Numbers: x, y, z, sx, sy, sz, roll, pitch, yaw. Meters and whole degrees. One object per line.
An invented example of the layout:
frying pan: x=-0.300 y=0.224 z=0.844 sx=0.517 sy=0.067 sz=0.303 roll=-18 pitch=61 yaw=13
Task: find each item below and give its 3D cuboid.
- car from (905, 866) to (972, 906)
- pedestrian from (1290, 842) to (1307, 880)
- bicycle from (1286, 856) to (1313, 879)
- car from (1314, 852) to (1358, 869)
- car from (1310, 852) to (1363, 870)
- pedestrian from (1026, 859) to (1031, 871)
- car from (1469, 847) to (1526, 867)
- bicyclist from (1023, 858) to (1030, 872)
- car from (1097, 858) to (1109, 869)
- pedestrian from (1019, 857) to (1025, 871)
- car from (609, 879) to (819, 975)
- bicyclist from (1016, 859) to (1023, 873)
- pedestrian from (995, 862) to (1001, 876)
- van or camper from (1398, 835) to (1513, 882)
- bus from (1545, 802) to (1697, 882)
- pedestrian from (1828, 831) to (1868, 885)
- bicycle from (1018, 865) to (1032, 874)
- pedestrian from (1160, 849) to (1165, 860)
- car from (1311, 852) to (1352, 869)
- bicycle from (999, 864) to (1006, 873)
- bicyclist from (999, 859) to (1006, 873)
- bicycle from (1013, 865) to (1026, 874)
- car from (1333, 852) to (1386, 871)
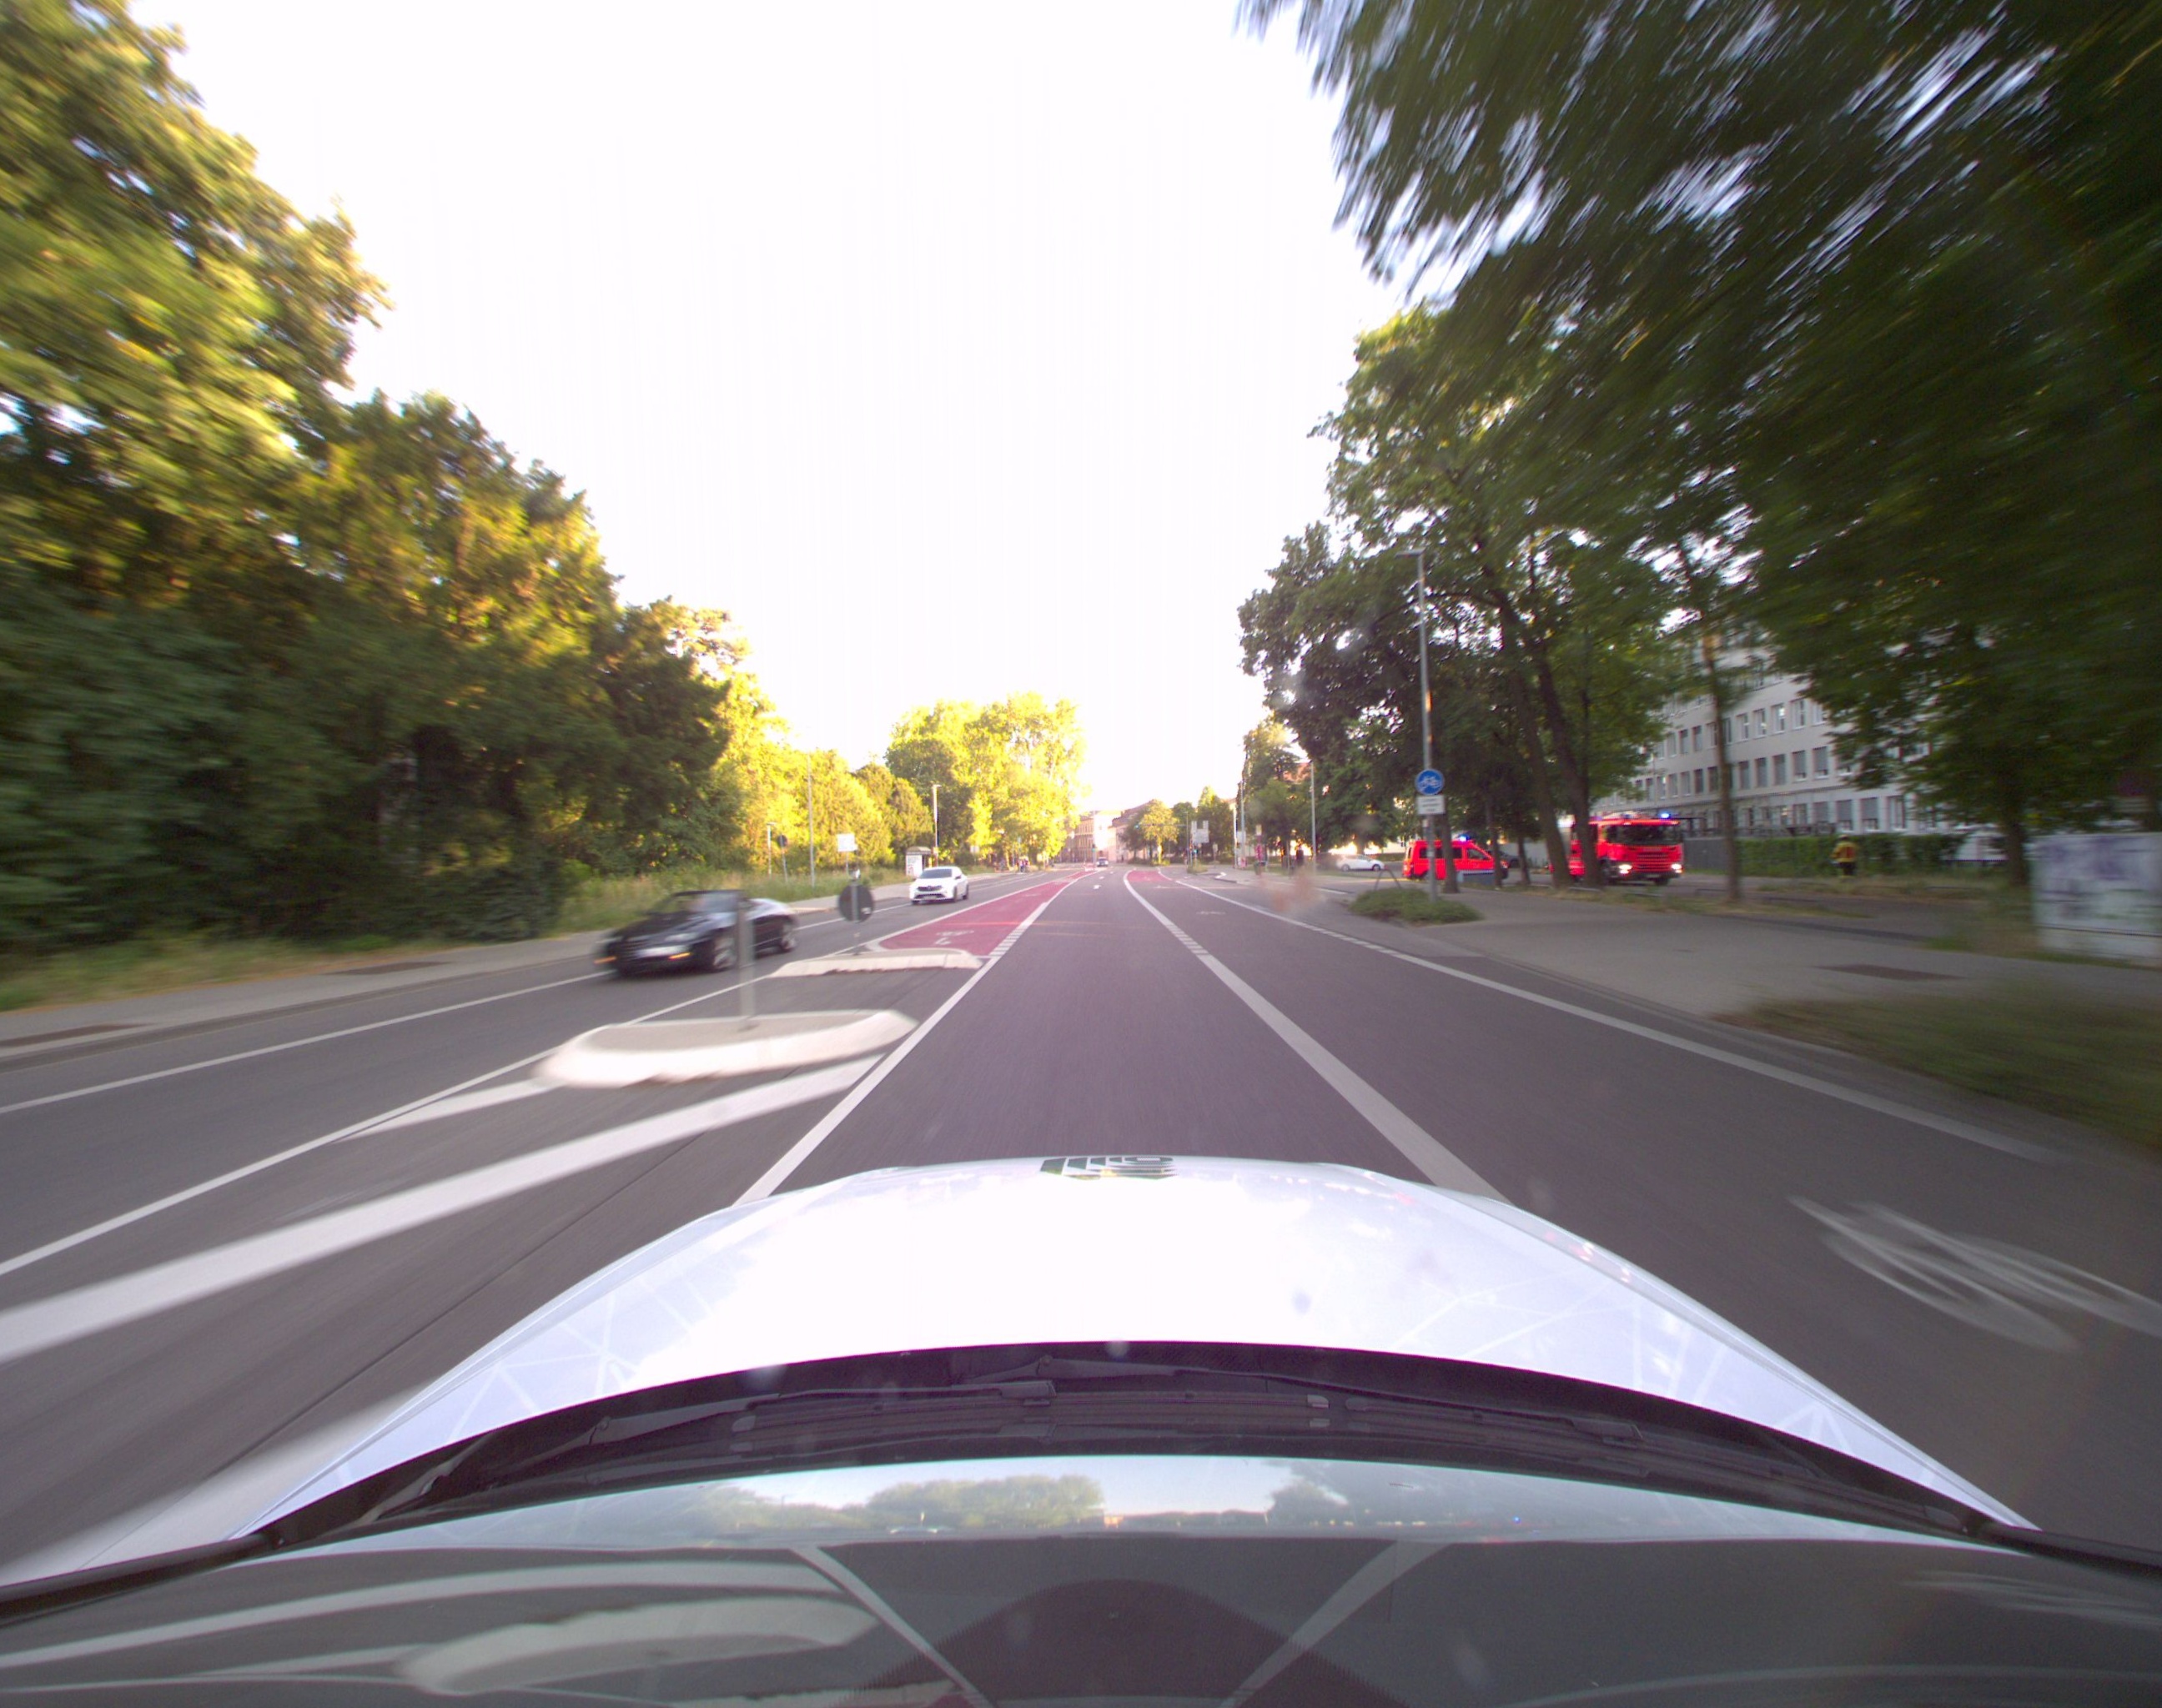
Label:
car: x=-5.687 y=1.231 z=32.991 sx=1.840 sy=1.414 sz=4.180 roll=-2 pitch=-1 yaw=1
pedestrian: x=11.496 y=0.365 z=43.129 sx=0.720 sy=2.014 sz=0.695 roll=0 pitch=-1 yaw=1
bicycle: x=11.628 y=0.694 z=43.369 sx=0.827 sy=1.097 sz=1.969 roll=-7 pitch=-1 yaw=2
car: x=25.398 y=0.624 z=81.325 sx=3.961 sy=1.561 sz=1.791 roll=-2 pitch=-1 yaw=11
car: x=24.480 y=0.677 z=78.155 sx=4.545 sy=1.449 sz=1.904 roll=-3 pitch=-3 yaw=6
pedestrian: x=-8.571 y=1.794 z=131.950 sx=0.636 sy=2.014 sz=0.702 roll=-2 pitch=-1 yaw=6
car: x=35.103 y=0.260 z=68.723 sx=3.959 sy=1.617 sz=1.920 roll=0 pitch=-1 yaw=13
bicyclist: x=-6.878 y=1.400 z=103.201 sx=0.631 sy=1.780 sz=0.580 roll=-2 pitch=-1 yaw=35
car: x=3.789 y=1.668 z=140.786 sx=1.842 sy=1.720 sz=4.297 roll=-3 pitch=-1 yaw=2
pedestrian: x=-7.220 y=1.261 z=99.487 sx=0.604 sy=1.695 sz=0.499 roll=-2 pitch=-1 yaw=6
car: x=-6.231 y=1.174 z=14.394 sx=1.743 sy=1.306 sz=4.002 roll=-2 pitch=-1 yaw=2
bicyclist: x=-7.673 y=1.509 z=101.935 sx=0.631 sy=1.649 sz=0.634 roll=-2 pitch=-1 yaw=35
pedestrian: x=-12.092 y=2.175 z=118.543 sx=0.653 sy=2.014 sz=0.600 roll=0 pitch=-1 yaw=-34
van or camper: x=18.332 y=0.243 z=40.106 sx=4.780 sy=2.245 sz=2.303 roll=-1 pitch=-1 yaw=12
bus: x=23.995 y=-0.428 z=36.782 sx=2.968 sy=3.196 sz=7.990 roll=-1 pitch=-1 yaw=12
pedestrian: x=29.055 y=0.136 z=30.848 sx=0.758 sy=2.014 sz=0.784 roll=0 pitch=-1 yaw=1
bicycle: x=-7.120 y=1.994 z=103.384 sx=1.749 sy=1.030 sz=0.583 roll=-2 pitch=-1 yaw=35
pedestrian: x=15.233 y=0.063 z=152.646 sx=0.866 sy=2.014 sz=0.723 roll=0 pitch=-1 yaw=4
car: x=25.897 y=0.633 z=84.262 sx=3.875 sy=1.694 sz=1.841 roll=0 pitch=-1 yaw=8
bicycle: x=-10.341 y=1.910 z=107.060 sx=0.768 sy=1.100 sz=2.121 roll=-1 pitch=0 yaw=-2
bicyclist: x=-10.317 y=1.564 z=107.101 sx=0.731 sy=1.824 sz=0.713 roll=-2 pitch=-1 yaw=6
bicycle: x=-7.674 y=1.891 z=101.946 sx=1.548 sy=1.111 sz=0.637 roll=-2 pitch=-1 yaw=35
car: x=23.444 y=0.606 z=68.671 sx=3.965 sy=1.537 sz=1.916 roll=0 pitch=-1 yaw=8
